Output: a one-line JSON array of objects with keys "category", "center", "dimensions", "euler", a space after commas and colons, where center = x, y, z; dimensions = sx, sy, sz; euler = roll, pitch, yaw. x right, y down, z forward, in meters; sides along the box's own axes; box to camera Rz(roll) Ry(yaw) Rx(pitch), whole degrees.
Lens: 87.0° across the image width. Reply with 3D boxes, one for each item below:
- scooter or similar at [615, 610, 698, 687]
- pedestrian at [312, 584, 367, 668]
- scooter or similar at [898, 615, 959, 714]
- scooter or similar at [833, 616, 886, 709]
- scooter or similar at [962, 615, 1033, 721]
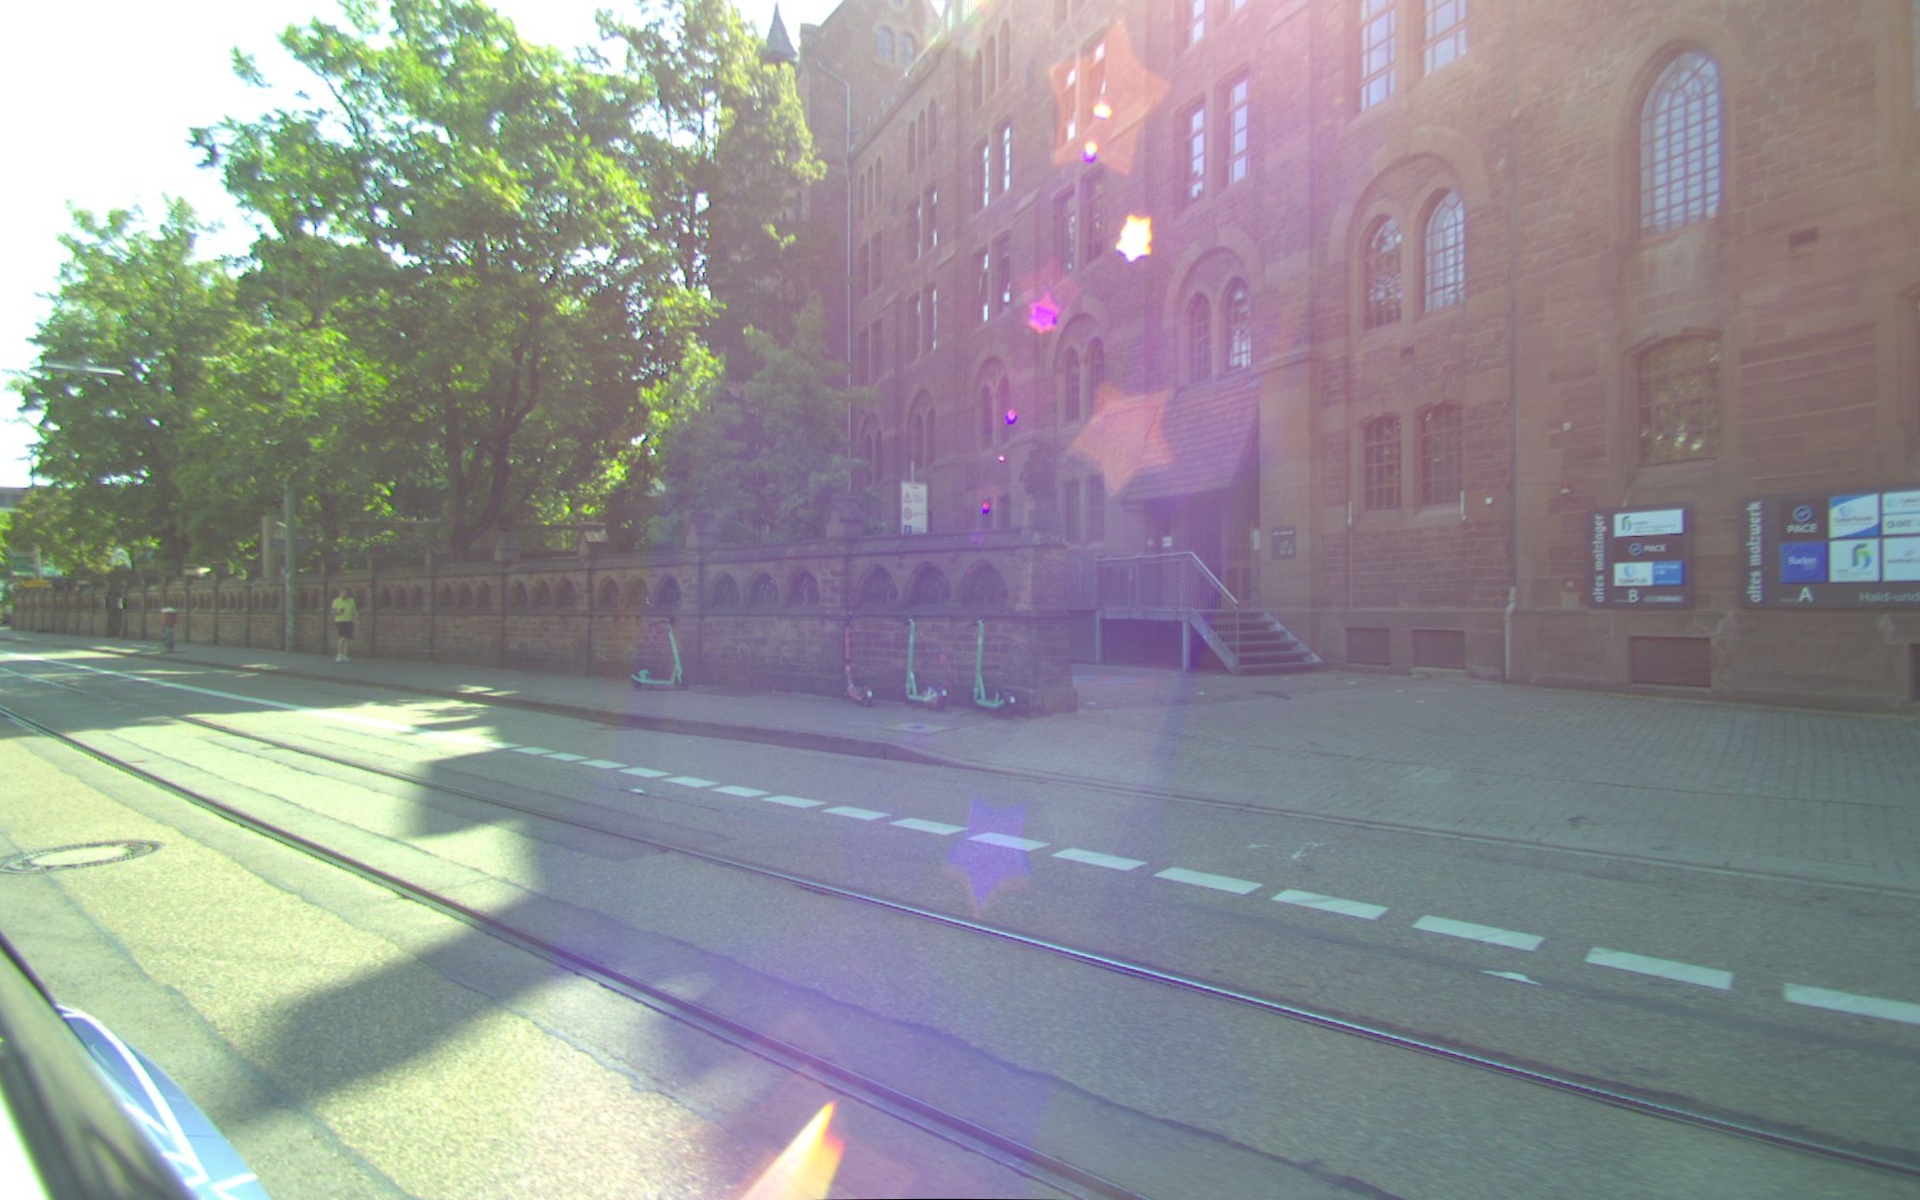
[{"category": "scooter or similar", "center": [-4.847, 0.766, 16.150], "dimensions": [1.309, 1.187, 0.418], "euler": [-1, 0, 25]}, {"category": "pedestrian", "center": [-15.249, 0.623, 24.861], "dimensions": [0.982, 2.029, 0.856], "euler": [-1, 0, 38]}, {"category": "scooter or similar", "center": [-0.417, 0.799, 12.921], "dimensions": [0.334, 1.187, 1.182], "euler": [-1, 0, -25]}, {"category": "scooter or similar", "center": [-1.365, 0.811, 13.613], "dimensions": [0.334, 1.187, 1.182], "euler": [-1, 0, -25]}, {"category": "scooter or similar", "center": [0.436, 0.787, 12.173], "dimensions": [0.334, 1.187, 1.182], "euler": [-1, 0, -25]}]
